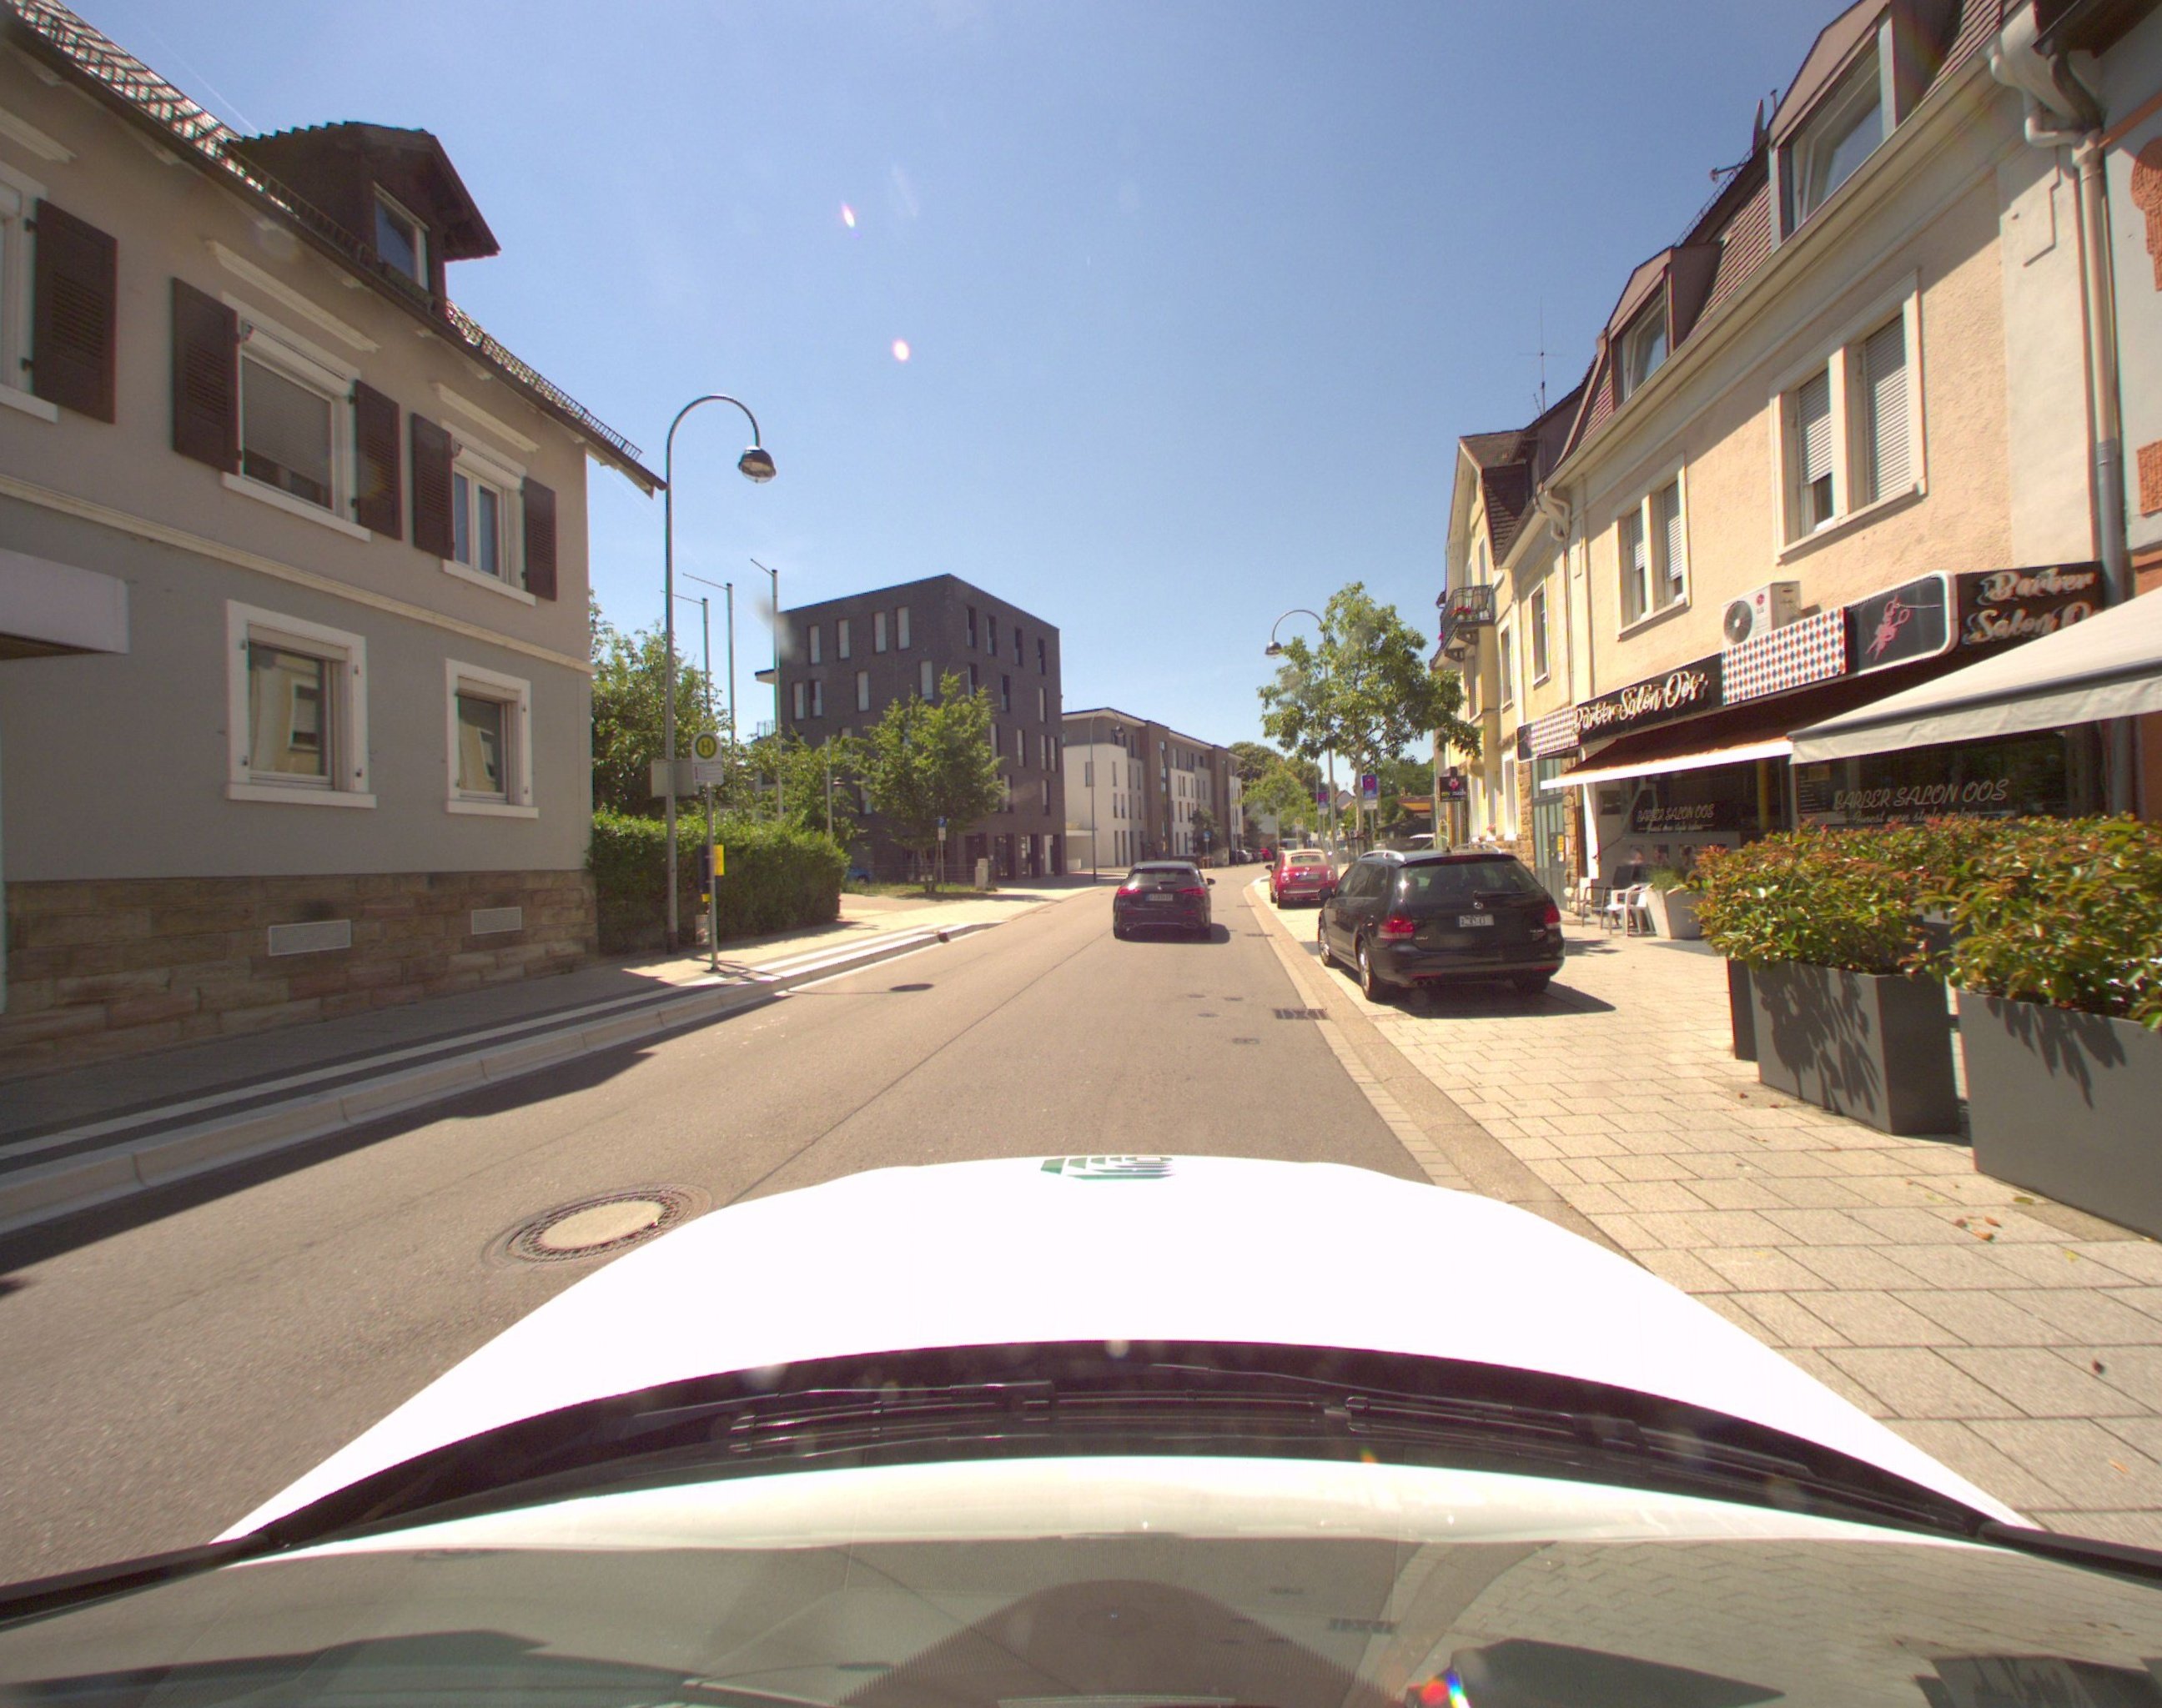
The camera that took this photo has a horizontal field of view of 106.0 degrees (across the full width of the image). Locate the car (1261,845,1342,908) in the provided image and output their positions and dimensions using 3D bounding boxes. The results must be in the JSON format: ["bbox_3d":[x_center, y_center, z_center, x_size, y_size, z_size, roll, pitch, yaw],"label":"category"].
[{"bbox_3d":[5.967,0.574,22.381,1.597,1.530,3.499,-3,-1,7],"label":"car"}]

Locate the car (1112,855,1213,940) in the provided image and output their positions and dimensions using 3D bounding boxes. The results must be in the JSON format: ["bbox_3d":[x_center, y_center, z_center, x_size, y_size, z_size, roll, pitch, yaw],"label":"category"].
[{"bbox_3d":[1.722,0.757,16.390,1.753,1.457,4.448,0,0,8],"label":"car"}]

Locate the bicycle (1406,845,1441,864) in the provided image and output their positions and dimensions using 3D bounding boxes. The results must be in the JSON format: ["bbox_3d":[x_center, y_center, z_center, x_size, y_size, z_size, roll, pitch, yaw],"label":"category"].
[{"bbox_3d":[22.710,0.042,53.987,2.027,1.178,0.898,-1,-1,27],"label":"bicycle"}]

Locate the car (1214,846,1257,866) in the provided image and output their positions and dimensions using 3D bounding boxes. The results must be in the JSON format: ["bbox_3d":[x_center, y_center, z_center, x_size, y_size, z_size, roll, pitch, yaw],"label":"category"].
[{"bbox_3d":[16.433,0.218,86.712,3.949,2.014,2.012,-1,0,29],"label":"car"}]

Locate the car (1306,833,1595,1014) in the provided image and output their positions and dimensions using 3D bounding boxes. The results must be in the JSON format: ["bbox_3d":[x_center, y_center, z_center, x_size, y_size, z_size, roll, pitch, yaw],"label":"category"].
[{"bbox_3d":[3.775,0.626,9.145,1.741,1.486,4.008,-4,-1,7],"label":"car"}]

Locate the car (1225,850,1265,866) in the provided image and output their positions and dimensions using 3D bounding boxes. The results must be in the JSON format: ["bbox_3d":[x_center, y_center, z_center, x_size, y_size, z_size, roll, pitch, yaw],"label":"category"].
[{"bbox_3d":[18.435,0.417,91.388,3.949,1.662,2.012,-1,0,28],"label":"car"}]

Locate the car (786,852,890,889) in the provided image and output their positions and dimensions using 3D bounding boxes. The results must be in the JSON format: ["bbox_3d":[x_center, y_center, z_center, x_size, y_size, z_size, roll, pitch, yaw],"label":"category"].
[{"bbox_3d":[-11.149,0.745,37.591,1.974,1.569,4.194,-1,0,40],"label":"car"}]

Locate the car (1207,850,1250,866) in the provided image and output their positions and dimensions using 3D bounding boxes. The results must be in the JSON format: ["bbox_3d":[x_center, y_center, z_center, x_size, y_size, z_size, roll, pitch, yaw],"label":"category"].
[{"bbox_3d":[15.286,0.421,84.463,3.949,1.662,2.012,-1,0,28],"label":"car"}]

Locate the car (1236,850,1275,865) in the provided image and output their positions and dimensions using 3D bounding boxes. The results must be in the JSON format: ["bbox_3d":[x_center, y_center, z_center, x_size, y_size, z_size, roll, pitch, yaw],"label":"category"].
[{"bbox_3d":[20.144,0.419,93.752,3.949,1.662,2.012,-1,0,28],"label":"car"}]

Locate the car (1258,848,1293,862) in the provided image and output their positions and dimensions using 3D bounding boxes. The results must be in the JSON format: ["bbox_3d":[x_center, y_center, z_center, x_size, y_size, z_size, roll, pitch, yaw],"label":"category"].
[{"bbox_3d":[24.454,0.072,102.388,3.949,1.662,2.012,-1,0,28],"label":"car"}]

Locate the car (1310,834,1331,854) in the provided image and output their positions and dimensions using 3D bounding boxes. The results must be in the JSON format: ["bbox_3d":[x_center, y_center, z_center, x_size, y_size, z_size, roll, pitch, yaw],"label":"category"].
[{"bbox_3d":[25.842,-1.044,87.808,1.978,2.013,4.018,-1,0,18],"label":"car"}]

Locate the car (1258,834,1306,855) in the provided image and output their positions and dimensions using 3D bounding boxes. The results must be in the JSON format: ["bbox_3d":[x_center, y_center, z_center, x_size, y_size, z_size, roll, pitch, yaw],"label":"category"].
[{"bbox_3d":[26.454,-1.229,107.143,5.588,2.579,2.531,-1,0,29],"label":"car"}]

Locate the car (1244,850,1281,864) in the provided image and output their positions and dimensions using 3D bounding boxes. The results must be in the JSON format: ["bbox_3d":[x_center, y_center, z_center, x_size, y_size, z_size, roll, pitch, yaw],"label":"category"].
[{"bbox_3d":[21.714,0.379,97.342,3.949,1.662,2.012,-1,0,28],"label":"car"}]

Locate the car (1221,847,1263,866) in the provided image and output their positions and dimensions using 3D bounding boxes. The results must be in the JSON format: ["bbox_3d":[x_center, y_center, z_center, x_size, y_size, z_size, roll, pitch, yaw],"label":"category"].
[{"bbox_3d":[17.587,0.259,88.925,3.949,2.014,2.012,-1,0,29],"label":"car"}]
